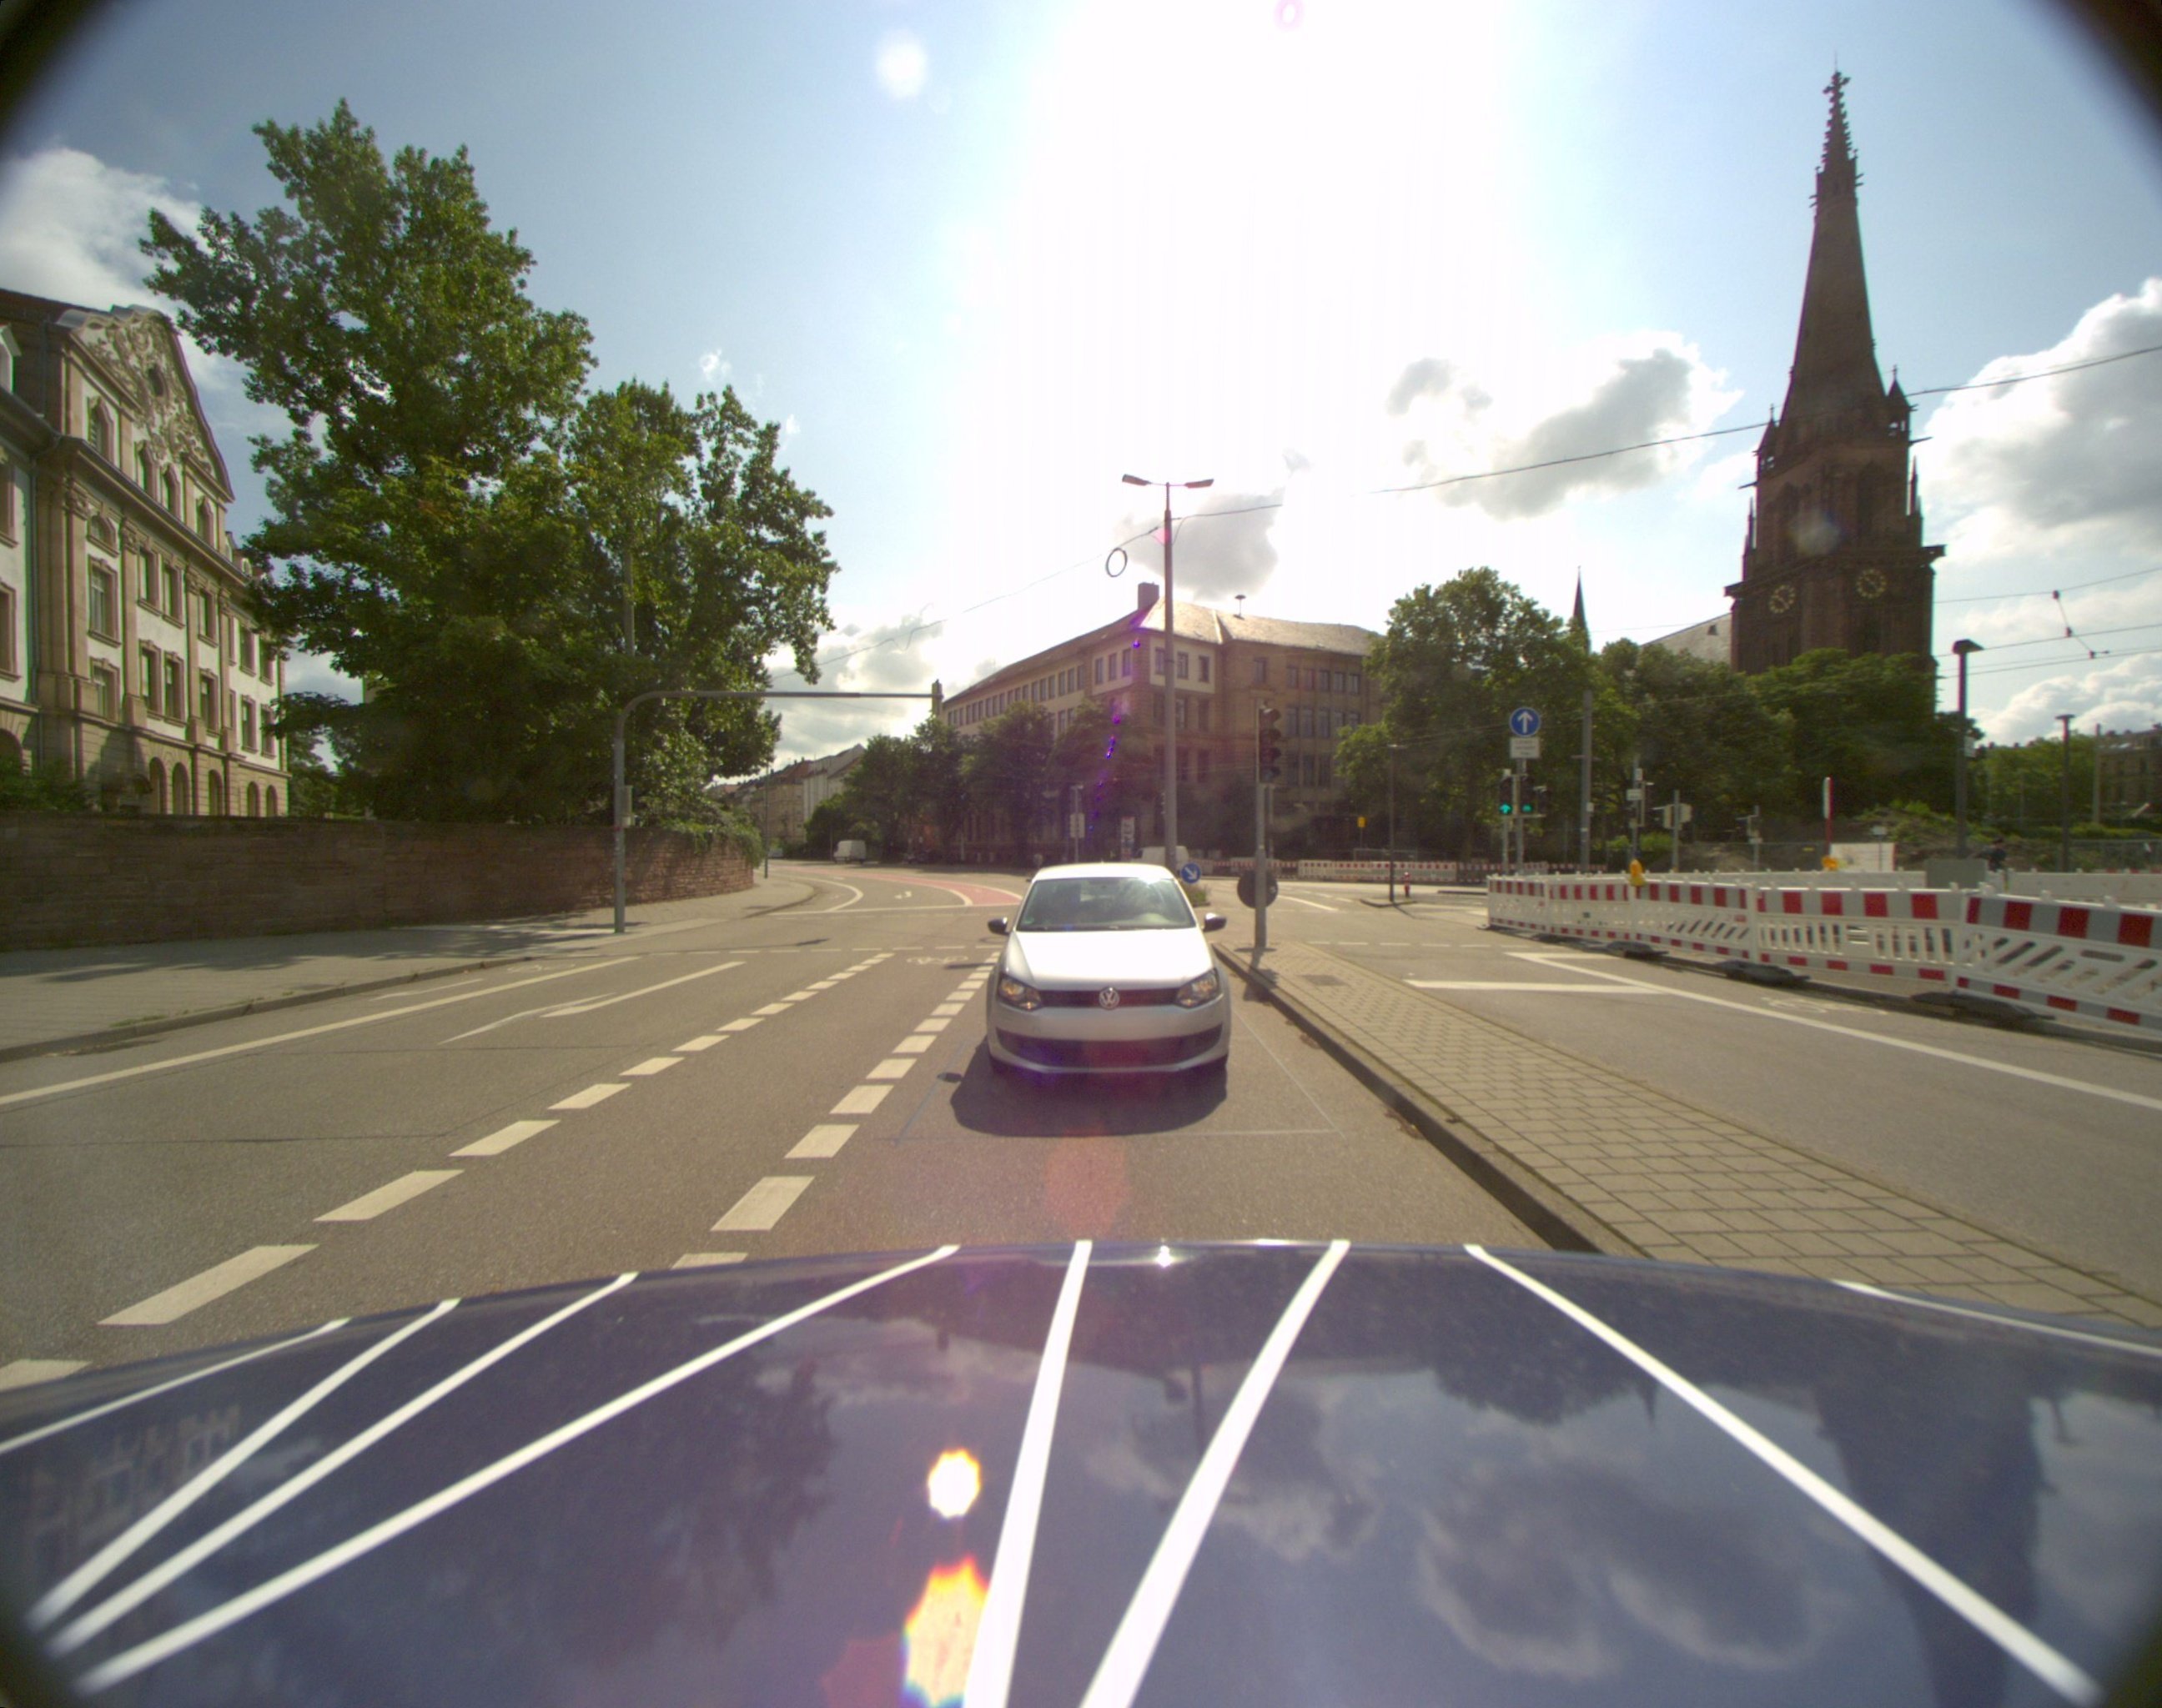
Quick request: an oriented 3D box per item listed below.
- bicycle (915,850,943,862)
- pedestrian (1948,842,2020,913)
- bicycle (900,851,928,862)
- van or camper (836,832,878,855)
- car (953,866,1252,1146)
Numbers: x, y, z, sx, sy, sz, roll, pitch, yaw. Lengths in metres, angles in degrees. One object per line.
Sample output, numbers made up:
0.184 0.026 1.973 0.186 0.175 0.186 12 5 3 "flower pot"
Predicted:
-16.944 0.233 84.904 2.891 1.200 1.050 0 4 9 "bicycle"
22.324 0.566 18.788 1.209 1.696 0.840 0 1 -26 "pedestrian"
-19.177 0.284 87.135 2.891 1.200 1.073 0 4 9 "bicycle"
-26.671 -1.228 90.276 2.981 2.587 6.740 0 1 -33 "van or camper"
0.152 0.906 6.336 1.655 1.433 4.004 -2 1 1 "car"
